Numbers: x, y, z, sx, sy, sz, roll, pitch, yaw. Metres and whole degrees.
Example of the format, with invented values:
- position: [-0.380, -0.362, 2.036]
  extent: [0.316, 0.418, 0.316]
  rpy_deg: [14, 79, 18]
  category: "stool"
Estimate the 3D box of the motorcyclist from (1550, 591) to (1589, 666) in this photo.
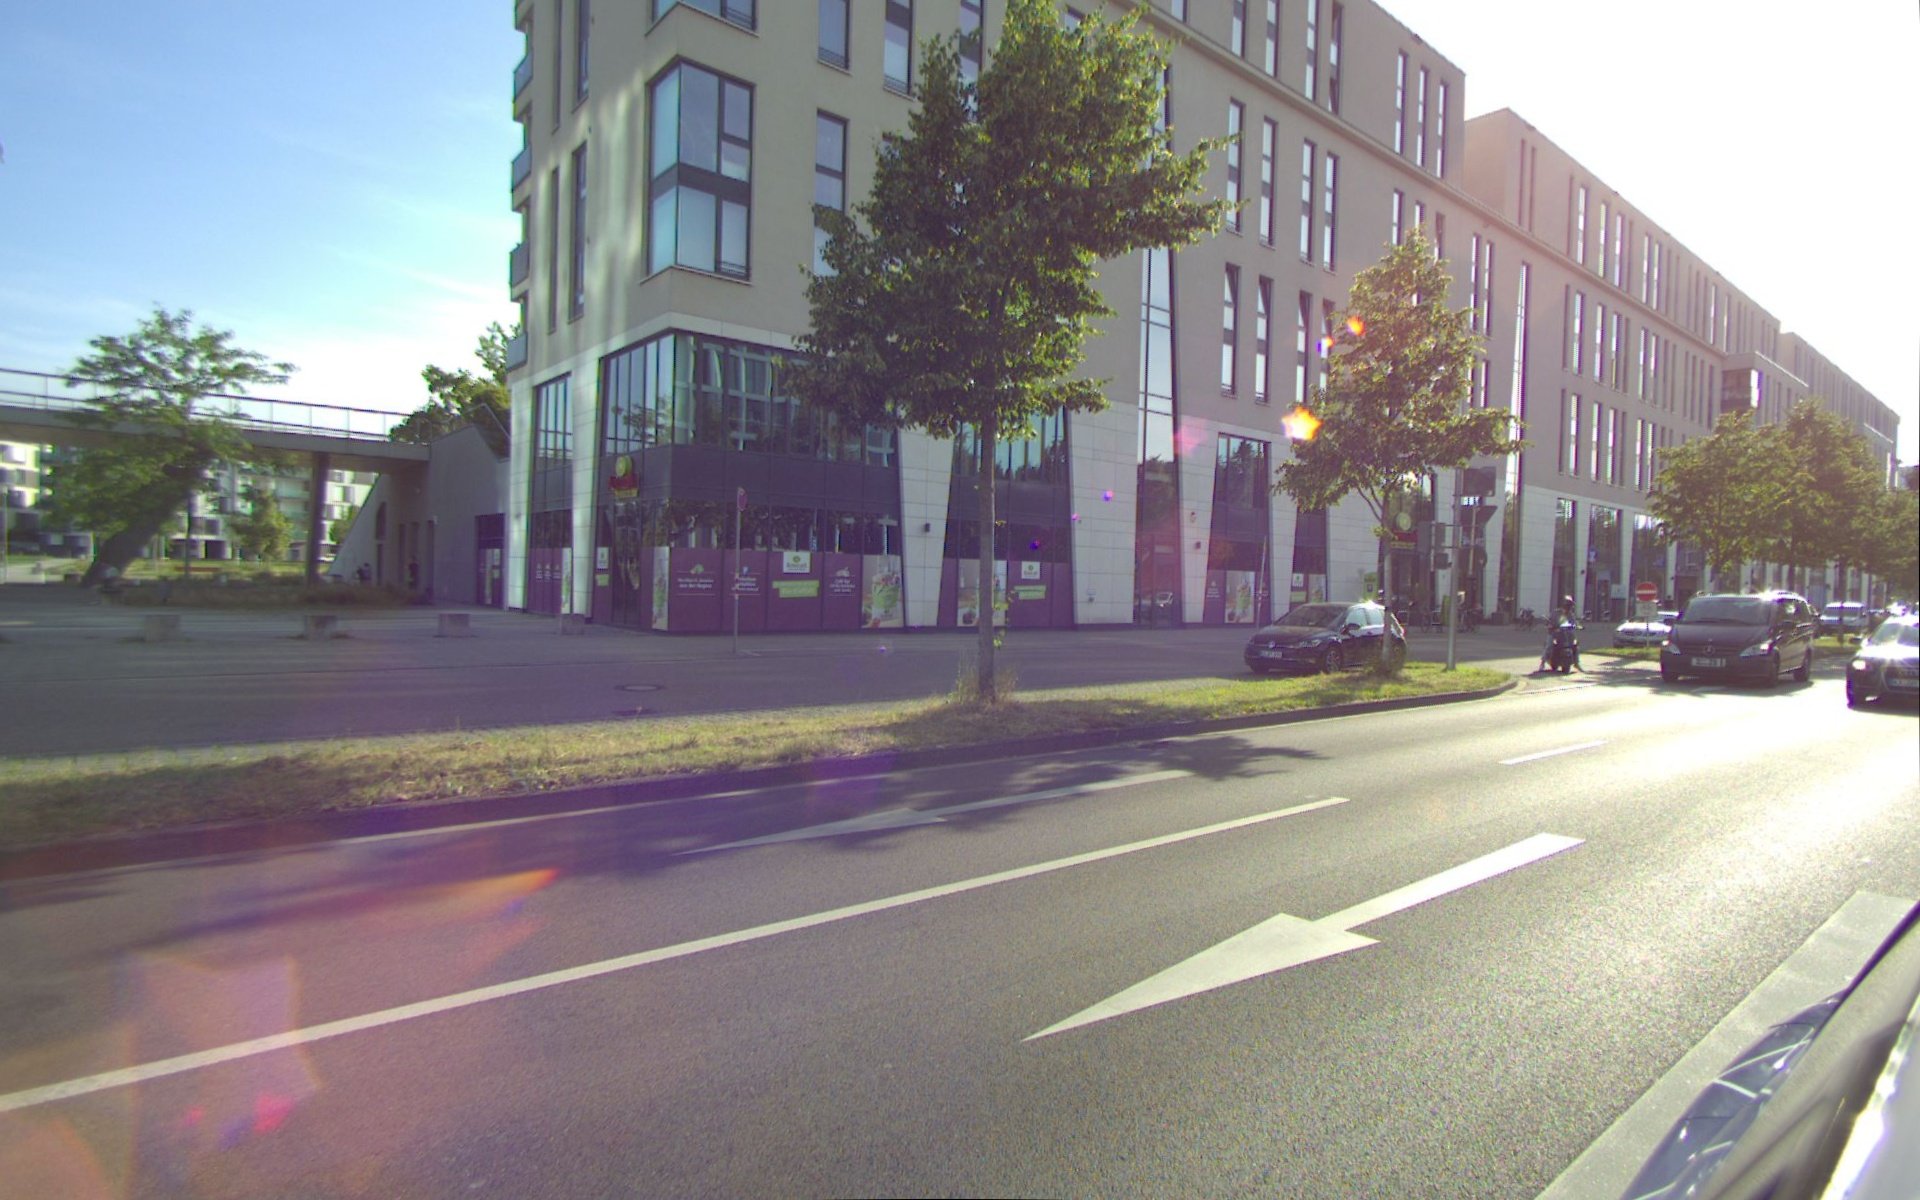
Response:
- position: [13.918, 0.644, 23.123]
  extent: [0.411, 1.660, 0.624]
  rpy_deg: [1, 1, -43]
  category: "motorcyclist"

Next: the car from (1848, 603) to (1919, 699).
- position: [16.349, 0.790, 16.724]
  extent: [3.960, 1.453, 1.756]
  rpy_deg: [0, 0, -37]
  category: "car"

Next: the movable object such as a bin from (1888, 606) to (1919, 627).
- position: [56.646, 0.985, 60.771]
  extent: [1.171, 1.252, 1.278]
  rpy_deg: [0, 0, -43]
  category: "movable object such as a bin"

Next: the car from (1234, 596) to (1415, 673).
- position: [7.431, 0.626, 20.454]
  extent: [4.083, 1.388, 1.610]
  rpy_deg: [0, 0, -40]
  category: "car"

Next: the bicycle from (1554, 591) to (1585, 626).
- position: [28.886, 0.390, 47.961]
  extent: [2.173, 1.639, 0.556]
  rpy_deg: [-1, 0, -39]
  category: "bicycle"

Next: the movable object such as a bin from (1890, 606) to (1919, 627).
- position: [57.580, 0.991, 61.668]
  extent: [1.171, 1.252, 1.278]
  rpy_deg: [0, 0, -43]
  category: "movable object such as a bin"

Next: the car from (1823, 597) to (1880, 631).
- position: [48.293, 0.712, 54.777]
  extent: [4.222, 1.733, 1.830]
  rpy_deg: [0, 0, -42]
  category: "car"

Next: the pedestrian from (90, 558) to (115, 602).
- position: [-25.834, -0.597, 30.493]
  extent: [0.571, 1.310, 0.597]
  rpy_deg: [0, 0, -39]
  category: "pedestrian"

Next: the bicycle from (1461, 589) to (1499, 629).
- position: [21.170, 0.336, 41.195]
  extent: [2.173, 1.587, 0.556]
  rpy_deg: [-1, 0, -39]
  category: "bicycle"

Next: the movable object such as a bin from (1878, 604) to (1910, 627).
- position: [55.356, 0.892, 59.977]
  extent: [1.158, 1.308, 1.278]
  rpy_deg: [0, 0, -43]
  category: "movable object such as a bin"

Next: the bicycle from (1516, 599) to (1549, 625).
- position: [25.558, 0.538, 45.184]
  extent: [1.870, 1.097, 0.635]
  rpy_deg: [0, 2, -39]
  category: "bicycle"

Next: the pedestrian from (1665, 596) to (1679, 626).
- position: [43.370, 0.675, 61.621]
  extent: [0.635, 1.785, 0.538]
  rpy_deg: [0, 0, -39]
  category: "pedestrian"

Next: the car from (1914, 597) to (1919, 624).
- position: [72.066, 0.762, 74.838]
  extent: [4.946, 1.900, 1.840]
  rpy_deg: [0, 0, -43]
  category: "car"

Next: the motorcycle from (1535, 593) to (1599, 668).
- position: [13.813, 0.661, 22.995]
  extent: [1.977, 1.638, 0.702]
  rpy_deg: [0, 0, -42]
  category: "motorcycle"

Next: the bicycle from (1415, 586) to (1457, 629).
- position: [18.484, 0.273, 39.277]
  extent: [2.235, 1.590, 0.556]
  rpy_deg: [-1, 0, -39]
  category: "bicycle"

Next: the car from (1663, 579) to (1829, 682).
- position: [16.485, 0.555, 21.132]
  extent: [4.736, 1.915, 1.802]
  rpy_deg: [0, 0, -40]
  category: "car"

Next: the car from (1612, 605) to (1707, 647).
- position: [23.552, 0.836, 34.042]
  extent: [3.837, 1.258, 1.711]
  rpy_deg: [0, 0, -41]
  category: "car"

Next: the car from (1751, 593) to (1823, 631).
- position: [38.844, 0.557, 47.507]
  extent: [4.596, 1.730, 1.900]
  rpy_deg: [1, -1, -41]
  category: "car"
